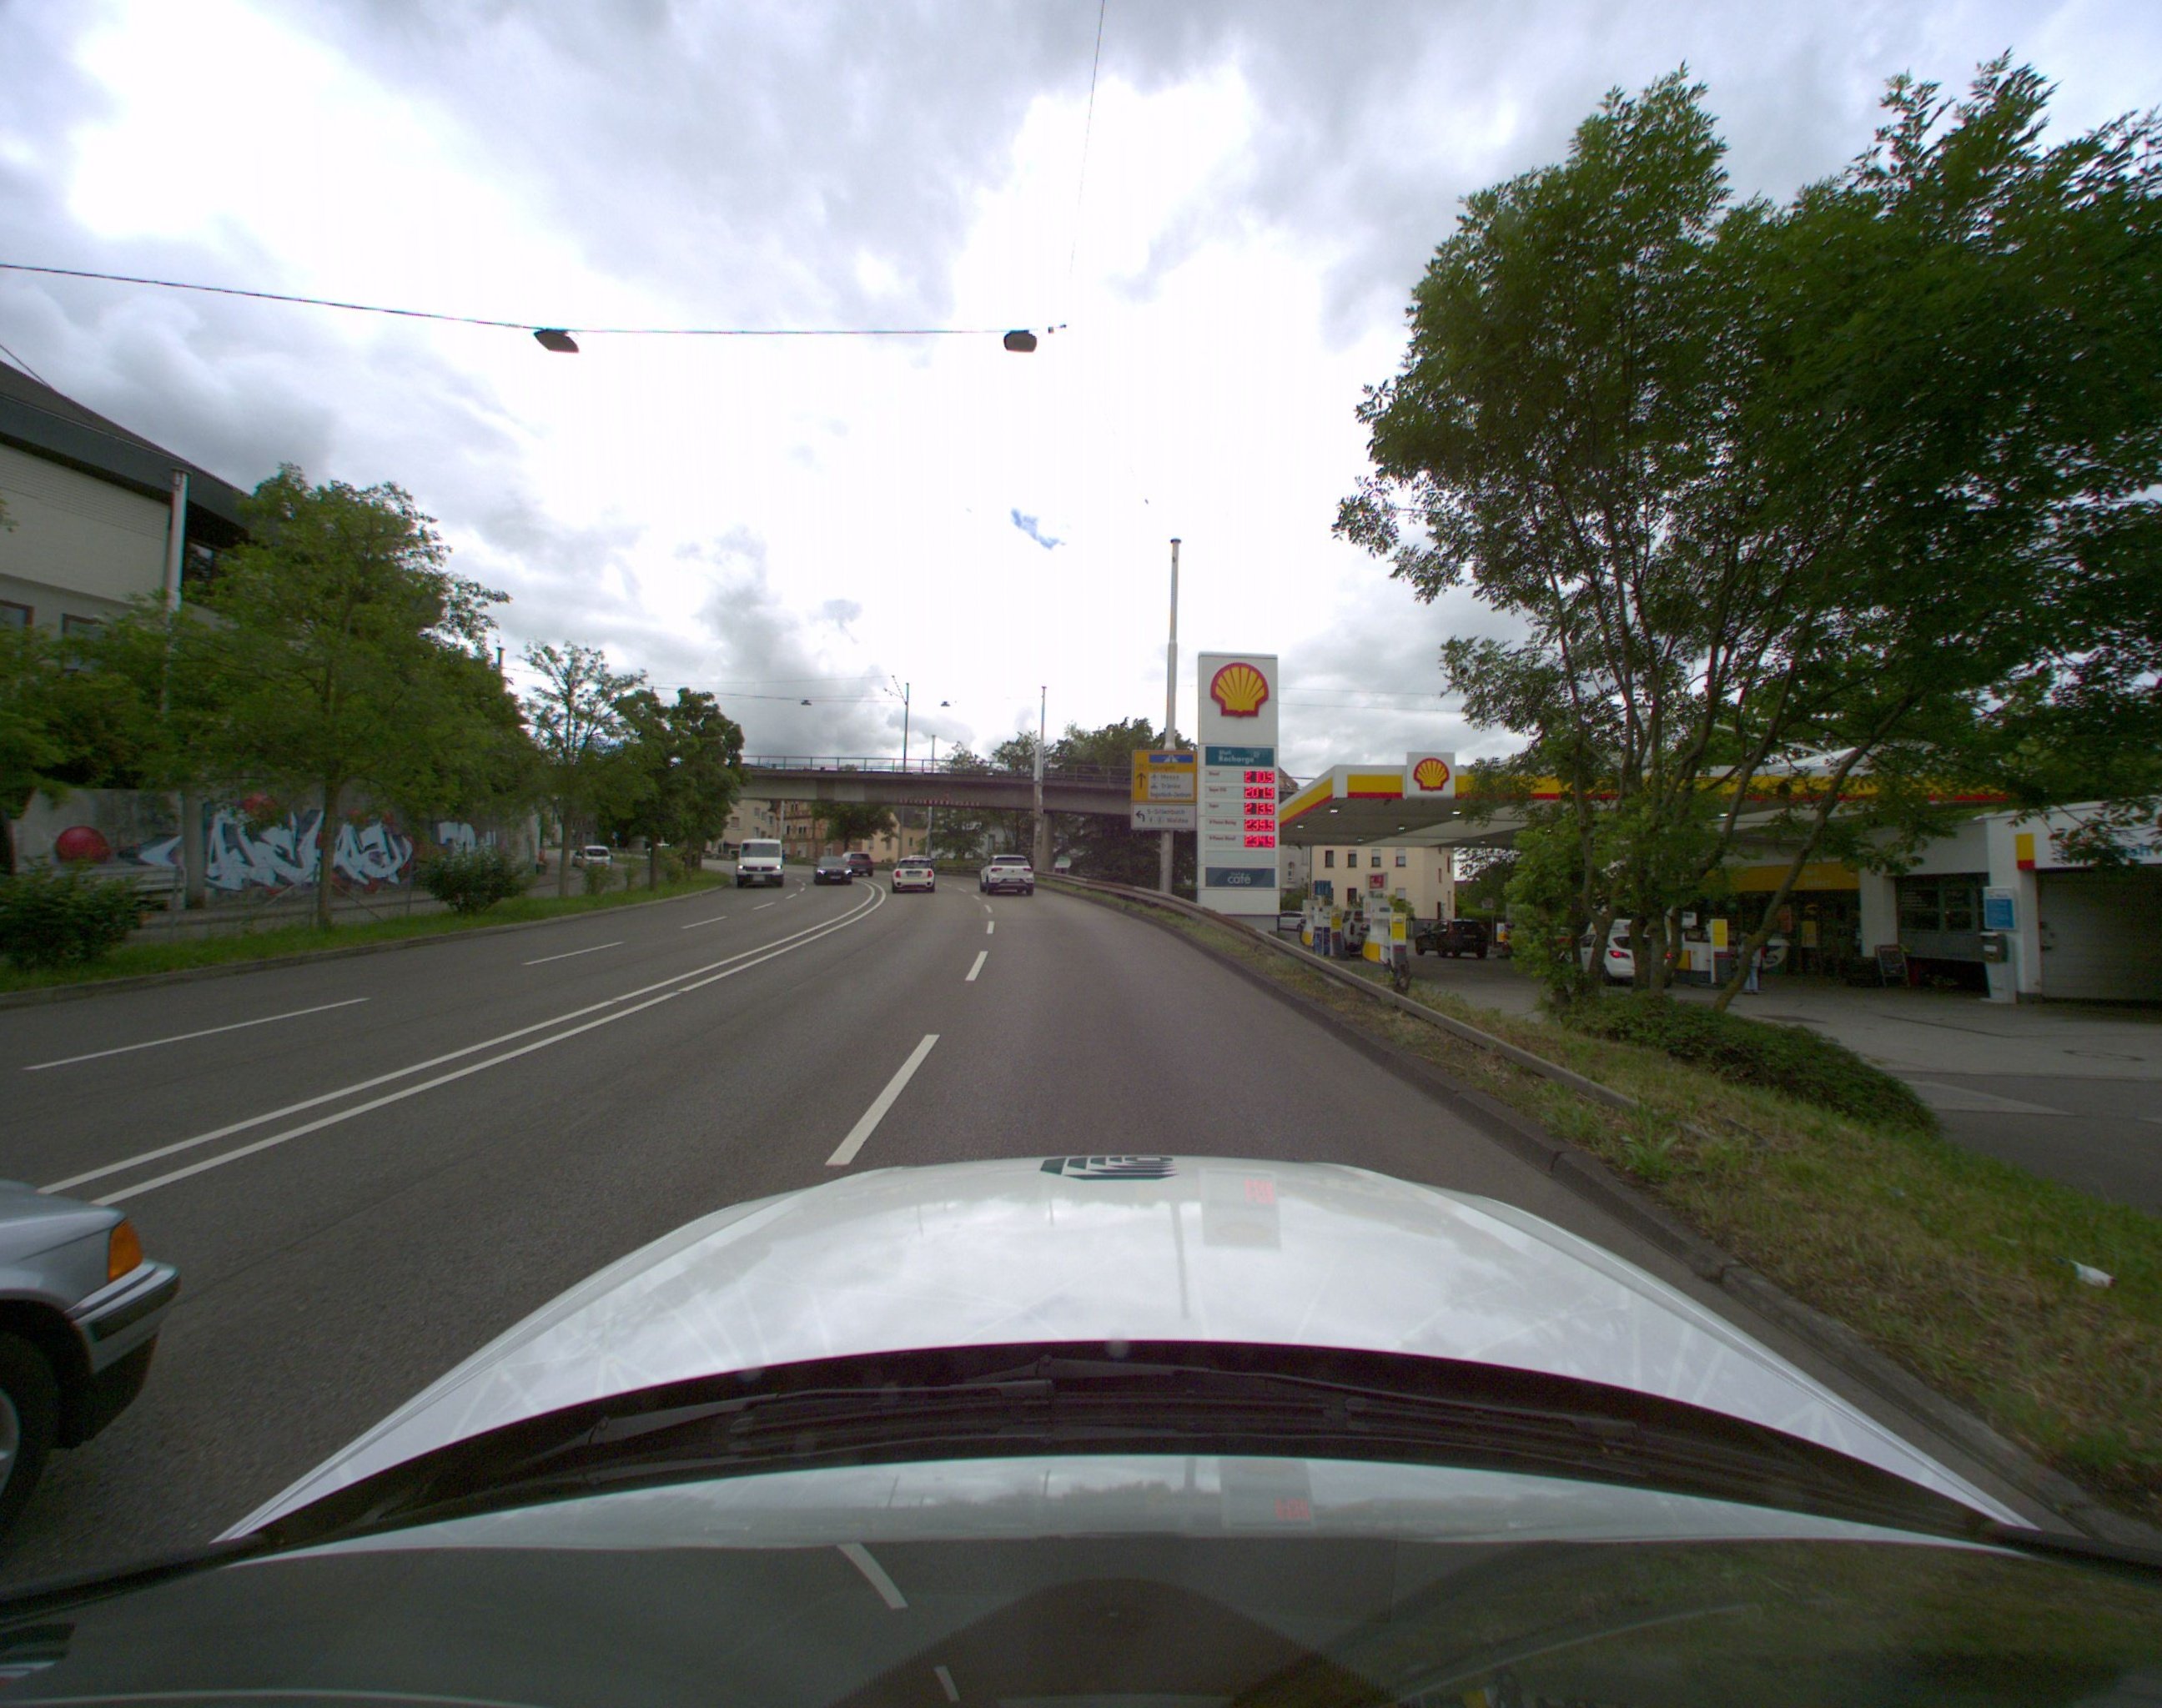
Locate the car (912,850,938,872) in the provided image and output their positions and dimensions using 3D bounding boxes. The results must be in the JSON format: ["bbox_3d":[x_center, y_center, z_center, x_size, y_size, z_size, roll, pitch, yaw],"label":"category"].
[{"bbox_3d":[-10.779,0.483,56.154,1.676,1.409,3.443,1,0,-11],"label":"car"}]

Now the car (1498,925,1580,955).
[{"bbox_3d":[24.102,4.504,42.979,3.584,1.458,1.666,-1,-4,23],"label":"car"}]

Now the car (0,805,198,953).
[{"bbox_3d":[-17.752,0.385,12.385,2.266,2.273,6.310,0,0,-7],"label":"car"}]

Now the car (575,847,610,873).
[{"bbox_3d":[-35.593,0.366,59.300,1.780,1.785,4.416,-1,1,-36],"label":"car"}]

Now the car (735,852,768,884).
[{"bbox_3d":[-21.552,0.883,53.222,1.836,1.903,3.907,3,0,-23],"label":"car"}]

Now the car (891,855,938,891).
[{"bbox_3d":[-6.923,0.761,34.134,1.722,1.376,3.446,1,0,-8],"label":"car"}]

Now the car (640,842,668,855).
[{"bbox_3d":[-50.446,-0.648,96.255,3.412,1.376,1.739,1,0,39],"label":"car"}]

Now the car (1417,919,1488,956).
[{"bbox_3d":[16.301,3.642,35.938,1.726,1.486,3.884,0,-4,7],"label":"car"}]

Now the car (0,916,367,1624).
[{"bbox_3d":[-3.091,0.886,0.193,1.628,1.383,4.621,1,0,2],"label":"car"}]

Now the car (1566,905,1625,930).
[{"bbox_3d":[35.356,4.363,55.979,3.588,1.349,1.590,7,-4,-22],"label":"car"}]

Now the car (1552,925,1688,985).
[{"bbox_3d":[15.434,2.854,23.588,1.726,1.486,3.884,0,-4,7],"label":"car"}]

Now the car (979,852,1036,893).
[{"bbox_3d":[-2.942,0.696,32.131,1.799,1.519,3.442,1,0,-13],"label":"car"}]

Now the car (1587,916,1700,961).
[{"bbox_3d":[25.616,3.823,37.240,3.841,1.939,1.745,0,-4,10],"label":"car"}]

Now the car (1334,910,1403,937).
[{"bbox_3d":[20.180,4.877,57.201,4.249,1.521,1.634,3,-3,33],"label":"car"}]

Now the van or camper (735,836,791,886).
[{"bbox_3d":[-15.492,0.298,39.888,2.013,2.261,5.929,0,0,-16],"label":"van or camper"}]

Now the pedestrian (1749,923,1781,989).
[{"bbox_3d":[18.044,2.681,21.480,0.490,1.704,0.431,1,-1,-4],"label":"pedestrian"}]

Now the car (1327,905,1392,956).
[{"bbox_3d":[11.859,3.205,35.010,1.726,2.011,4.721,0,-4,7],"label":"car"}]

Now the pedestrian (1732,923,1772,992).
[{"bbox_3d":[17.266,2.654,20.974,0.540,1.704,0.609,1,-1,0],"label":"pedestrian"}]

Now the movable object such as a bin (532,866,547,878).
[{"bbox_3d":[-31.603,1.032,47.491,0.574,0.640,0.562,4,-2,44],"label":"movable object such as a bin"}]

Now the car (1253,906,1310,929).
[{"bbox_3d":[14.951,4.711,60.754,3.722,1.395,1.661,3,-3,36],"label":"car"}]

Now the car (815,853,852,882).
[{"bbox_3d":[-12.872,0.641,42.156,1.740,1.414,4.402,-1,0,-18],"label":"car"}]

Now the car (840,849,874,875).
[{"bbox_3d":[-15.099,0.516,54.807,1.730,1.640,3.430,1,0,-23],"label":"car"}]
